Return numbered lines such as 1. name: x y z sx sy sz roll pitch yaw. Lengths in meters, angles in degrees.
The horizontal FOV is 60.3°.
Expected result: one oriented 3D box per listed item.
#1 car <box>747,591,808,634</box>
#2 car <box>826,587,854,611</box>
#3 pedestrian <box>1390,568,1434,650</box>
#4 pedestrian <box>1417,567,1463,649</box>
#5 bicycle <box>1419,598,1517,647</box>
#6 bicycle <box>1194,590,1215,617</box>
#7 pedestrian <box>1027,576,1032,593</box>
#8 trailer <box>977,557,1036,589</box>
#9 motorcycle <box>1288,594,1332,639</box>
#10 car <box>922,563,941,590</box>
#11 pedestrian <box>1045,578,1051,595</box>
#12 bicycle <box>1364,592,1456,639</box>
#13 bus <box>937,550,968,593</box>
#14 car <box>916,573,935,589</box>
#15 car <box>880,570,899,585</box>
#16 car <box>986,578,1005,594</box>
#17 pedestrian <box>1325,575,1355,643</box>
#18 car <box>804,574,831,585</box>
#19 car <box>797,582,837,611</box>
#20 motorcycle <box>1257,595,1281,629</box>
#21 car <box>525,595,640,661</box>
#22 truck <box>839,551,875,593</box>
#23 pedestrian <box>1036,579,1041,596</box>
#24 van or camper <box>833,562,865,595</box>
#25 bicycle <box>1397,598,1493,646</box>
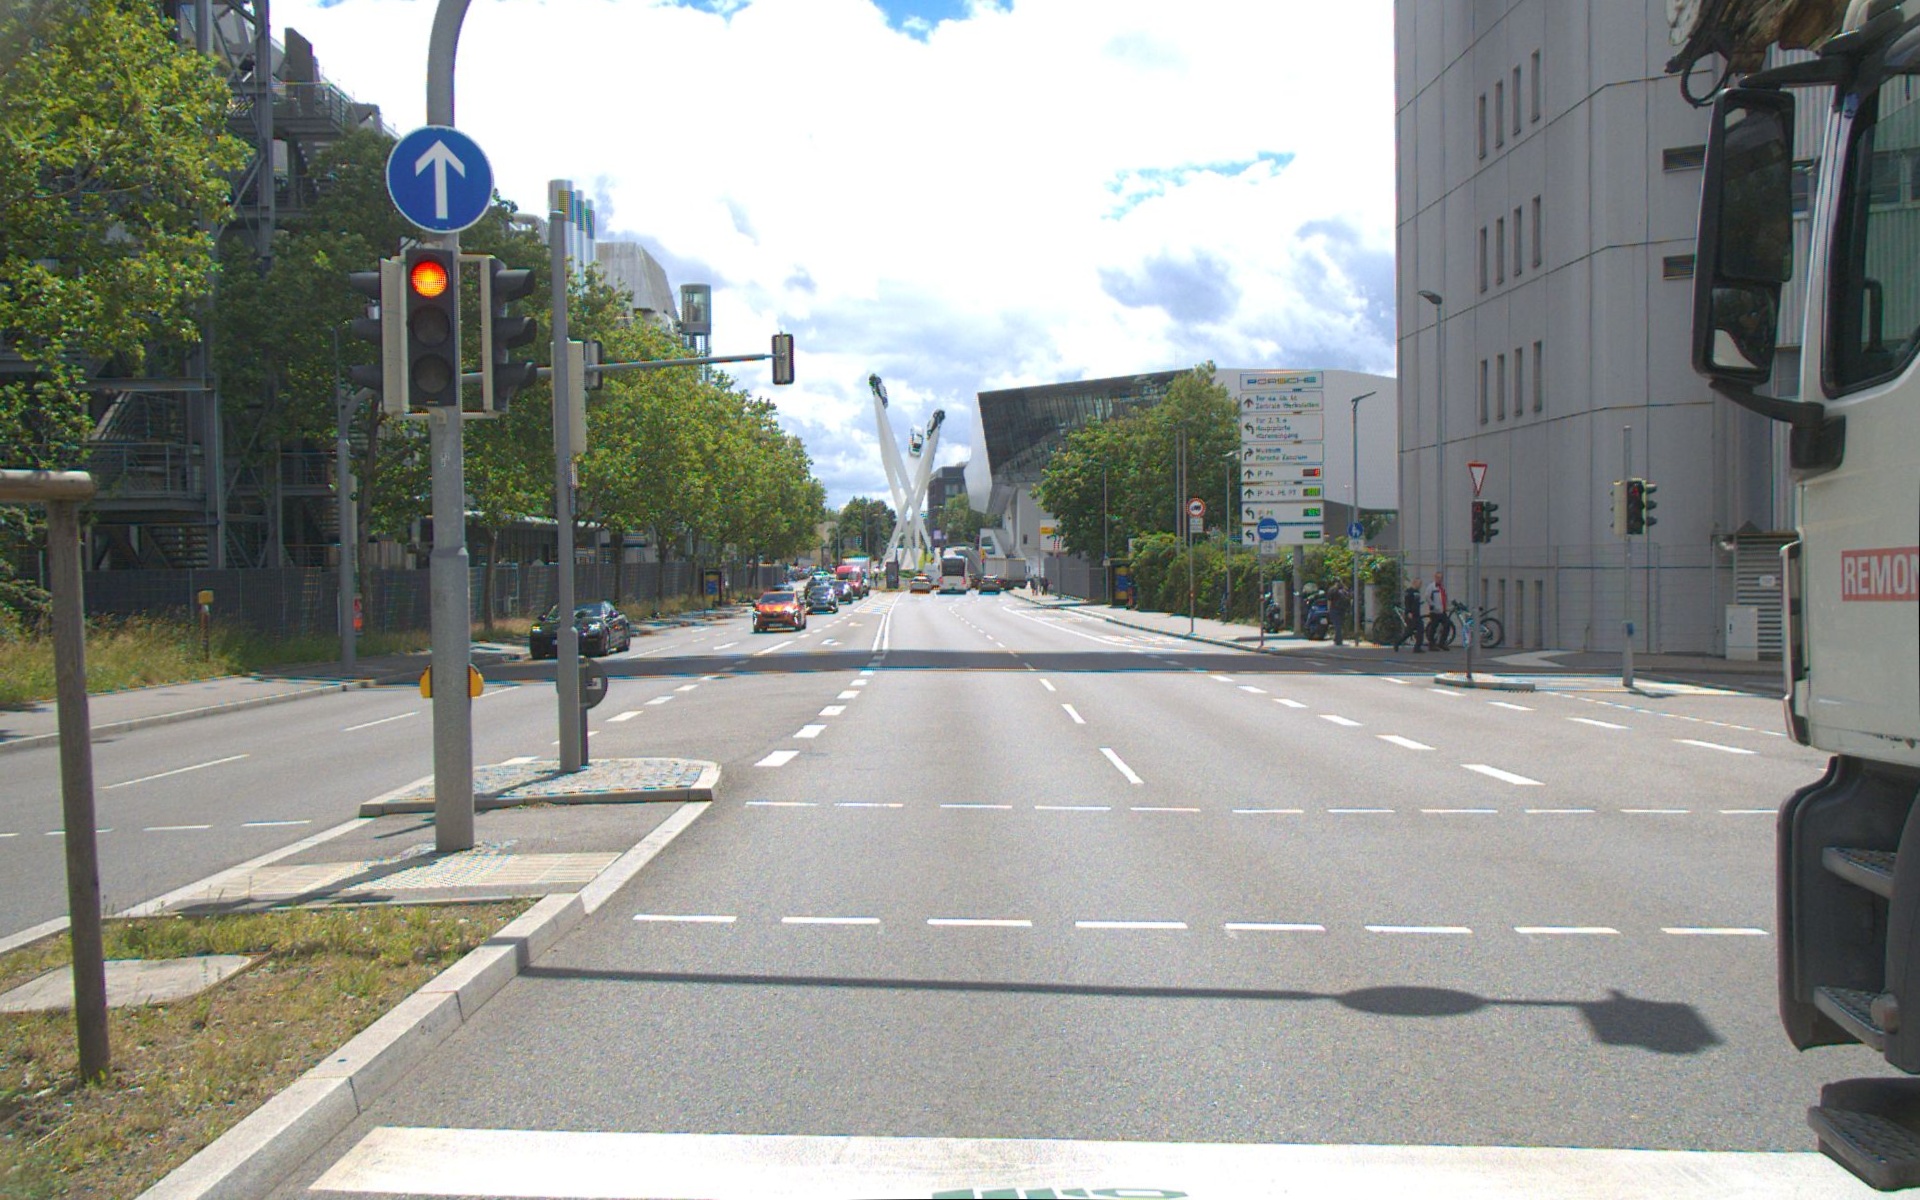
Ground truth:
1. car: -6.608 0.422 60.118 1.733 1.445 3.701 -2 0 0
2. car: -7.955 -0.071 110.240 1.525 1.473 3.772 -2 0 0
3. pedestrian: 10.315 0.202 37.784 0.631 1.825 0.709 -3 1 -16
4. pedestrian: 11.006 0.185 37.946 0.680 1.825 0.709 -3 1 -16
5. bicycle: 11.924 0.524 38.865 2.149 1.105 0.475 1 -1 35
6. bicycle: 9.668 0.147 65.415 0.410 1.040 1.910 1 0 -5
7. pedestrian: 5.803 -1.307 137.685 0.378 1.446 0.423 1 -1 0
8. trailer: 4.917 -2.760 172.185 3.250 3.047 10.380 1 0 18
9. motorcycle: 9.548 0.445 45.168 0.410 1.186 1.951 1 0 -11
10. car: -2.967 -2.444 171.130 1.806 2.669 3.999 1 0 -2
11. pedestrian: 7.221 -1.114 135.735 0.378 1.446 0.423 1 -1 0
12. bicycle: 11.153 0.380 41.039 2.180 1.105 0.475 1 -1 35
13. bus: -0.678 -2.555 149.971 2.730 3.750 6.942 1 0 0
14. car: -3.065 -1.703 148.630 1.525 1.295 3.701 -2 0 1
15. car: -6.602 -2.105 155.526 1.525 1.295 3.701 -2 0 0
16. car: 3.125 -1.233 146.228 1.525 1.295 3.701 -2 0 1
17. pedestrian: 9.532 0.223 41.481 0.523 1.669 0.657 1 -1 -6
18. car: -19.882 -2.888 230.994 1.535 1.295 3.678 -2 1 43
19. car: -7.581 -0.211 88.109 1.733 1.445 3.701 -2 0 0
20. motorcycle: 9.739 0.363 52.155 0.448 1.040 1.913 1 0 1
21. car: -9.804 0.695 43.312 1.878 1.514 4.772 -2 0 0
22. truck: -8.729 -2.375 140.732 2.538 3.382 7.078 1 0 0
23. pedestrian: 6.463 -1.030 136.280 0.378 1.446 0.423 1 -1 0
24. van or camper: -8.421 -1.621 125.655 2.005 2.509 5.594 0 0 0
25. bicycle: 11.639 0.522 39.714 2.180 1.105 0.475 1 -1 35
